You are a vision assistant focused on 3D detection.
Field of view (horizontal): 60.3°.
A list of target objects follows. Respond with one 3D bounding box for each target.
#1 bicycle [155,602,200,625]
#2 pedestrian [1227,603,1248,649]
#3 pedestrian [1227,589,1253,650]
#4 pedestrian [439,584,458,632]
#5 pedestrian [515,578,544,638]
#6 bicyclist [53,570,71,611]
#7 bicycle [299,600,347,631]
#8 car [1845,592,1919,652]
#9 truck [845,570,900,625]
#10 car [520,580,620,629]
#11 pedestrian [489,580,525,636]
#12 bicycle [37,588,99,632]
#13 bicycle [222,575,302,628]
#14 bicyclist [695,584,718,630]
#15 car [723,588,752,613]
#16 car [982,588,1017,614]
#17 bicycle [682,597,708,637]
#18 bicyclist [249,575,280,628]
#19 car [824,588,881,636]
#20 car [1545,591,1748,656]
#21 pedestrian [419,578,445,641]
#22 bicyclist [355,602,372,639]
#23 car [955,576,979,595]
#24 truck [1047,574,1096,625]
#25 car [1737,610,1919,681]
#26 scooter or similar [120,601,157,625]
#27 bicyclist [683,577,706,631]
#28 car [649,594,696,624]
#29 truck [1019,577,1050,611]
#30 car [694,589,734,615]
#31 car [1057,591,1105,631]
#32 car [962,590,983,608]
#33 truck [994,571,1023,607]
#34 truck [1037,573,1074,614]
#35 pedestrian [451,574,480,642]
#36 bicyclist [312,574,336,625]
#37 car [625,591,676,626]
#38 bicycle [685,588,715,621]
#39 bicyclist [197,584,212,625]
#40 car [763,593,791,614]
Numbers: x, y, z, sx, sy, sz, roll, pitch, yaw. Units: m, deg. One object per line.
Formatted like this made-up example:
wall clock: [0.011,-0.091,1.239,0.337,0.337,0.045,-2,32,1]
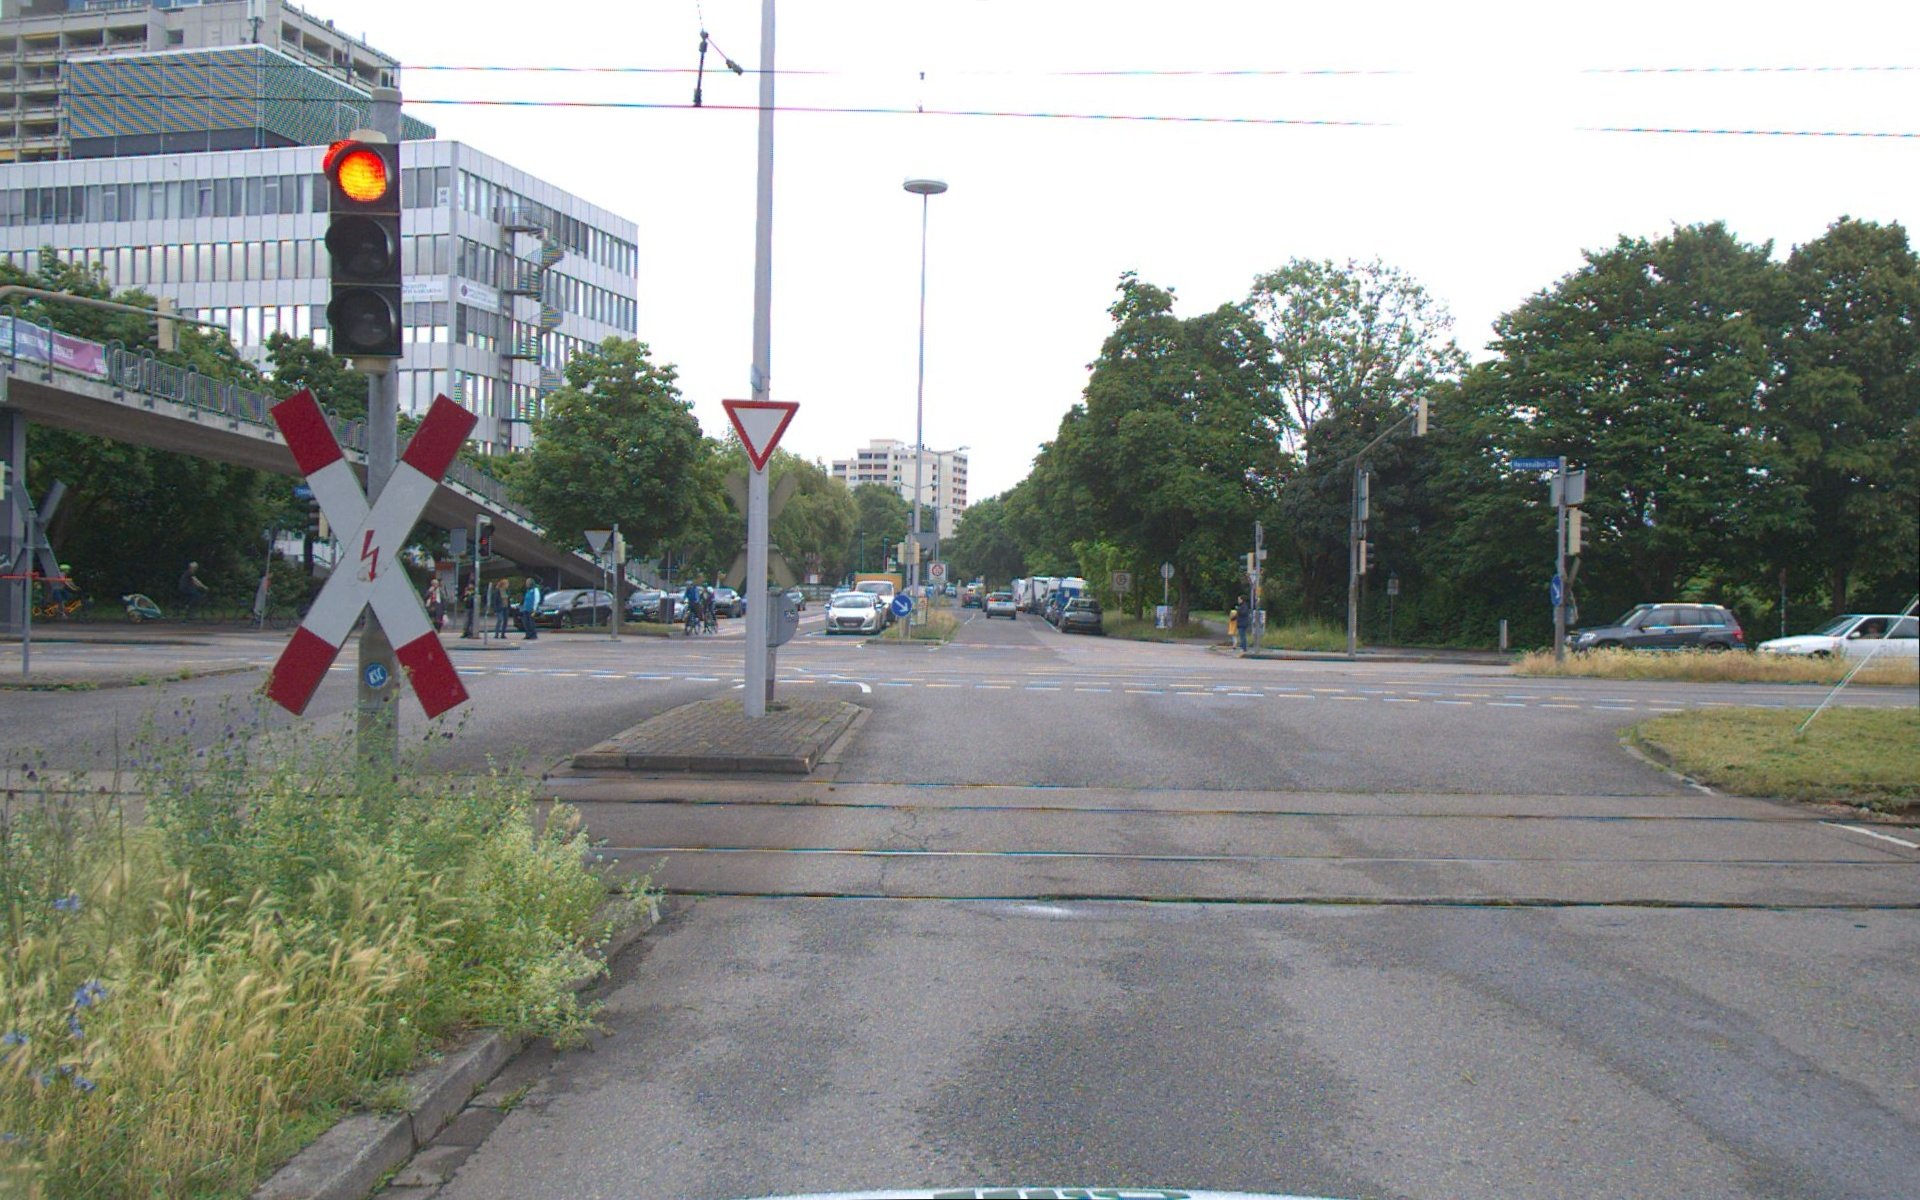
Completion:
bicycle: [-25.212,0.439,53.300,1.283,0.704,0.286,1,0,-37]
pedestrian: [8.384,0.774,49.949,0.516,1.365,0.525,1,0,-1]
pedestrian: [8.360,0.578,49.381,0.643,1.780,0.459,1,0,-1]
pedestrian: [-17.416,0.264,56.328,0.570,1.607,0.777,1,0,-19]
pedestrian: [-11.877,0.213,45.611,0.673,1.633,0.487,1,0,-5]
bicyclist: [-28.239,-0.285,52.029,0.398,1.275,0.276,1,0,-9]
bicycle: [-20.982,0.504,54.534,0.618,0.941,2.523,1,1,-1]
car: [25.137,0.573,41.951,4.373,1.465,1.846,1,0,0]
truck: [-3.756,-0.137,72.043,2.112,2.237,5.839,1,0,-1]
car: [-13.385,0.138,56.984,1.636,1.579,4.003,1,0,15]
pedestrian: [-12.496,0.216,45.666,0.901,1.537,0.403,1,0,-12]
bicycle: [-28.092,0.313,52.095,1.673,1.327,0.388,1,0,-9]
bicycle: [-22.389,0.048,53.066,2.310,1.653,0.528,1,0,0]
bicyclist: [-8.938,0.249,58.312,0.665,1.622,0.695,1,-1,-1]
car: [-14.248,0.033,105.915,1.415,1.579,3.663,1,0,-1]
car: [2.423,0.052,102.297,1.979,1.531,3.999,1,0,-1]
bicycle: [-8.928,0.551,55.754,0.532,1.289,2.110,1,0,-1]
bicyclist: [-22.309,0.050,53.086,0.732,1.653,0.528,1,0,0]
car: [-3.724,0.389,57.765,1.753,1.545,4.325,1,0,-1]
car: [17.415,0.588,42.084,4.373,1.530,1.846,1,0,0]
pedestrian: [-14.456,0.252,45.287,0.608,1.721,0.404,1,0,-15]
bicyclist: [-19.484,0.669,54.014,0.396,1.202,0.377,1,1,1]
car: [0.591,-1.211,140.233,1.979,1.531,3.999,1,0,-1]
truck: [6.079,0.000,90.808,2.130,2.703,6.245,0,0,-1]
car: [18.676,0.946,34.585,4.052,1.381,1.647,1,0,0]
scooter or similar: [-26.126,0.418,52.592,0.986,0.727,0.401,1,0,-36]
bicyclist: [-8.902,0.138,55.495,0.631,1.799,0.646,1,0,-1]
car: [-14.372,0.426,82.911,1.637,1.411,3.895,1,0,0]
truck: [5.955,-0.434,132.228,1.954,2.618,5.375,1,0,-3]
car: [-14.173,0.098,95.532,1.727,1.419,3.999,1,0,-1]
car: [5.394,0.465,73.999,1.747,1.691,3.999,1,0,-1]
car: [1.104,-0.064,146.424,1.523,1.531,3.997,1,0,-4]
truck: [4.179,-0.905,142.996,1.954,3.061,5.767,1,0,-4]
truck: [6.914,-0.476,120.170,1.954,2.888,5.726,1,0,-4]
pedestrian: [-13.636,0.213,45.616,0.625,1.835,0.800,1,0,-10]
bicyclist: [-20.956,-0.010,54.499,0.553,1.673,0.531,1,-1,0]
car: [-14.455,0.383,77.414,1.637,1.579,3.892,1,0,0]
bicycle: [-9.025,0.145,57.454,0.712,1.120,2.264,1,0,-1]
bicyclist: [-24.541,0.142,53.700,0.380,1.326,0.275,1,0,-38]
car: [-13.845,0.250,125.537,1.637,1.579,4.000,1,0,0]
